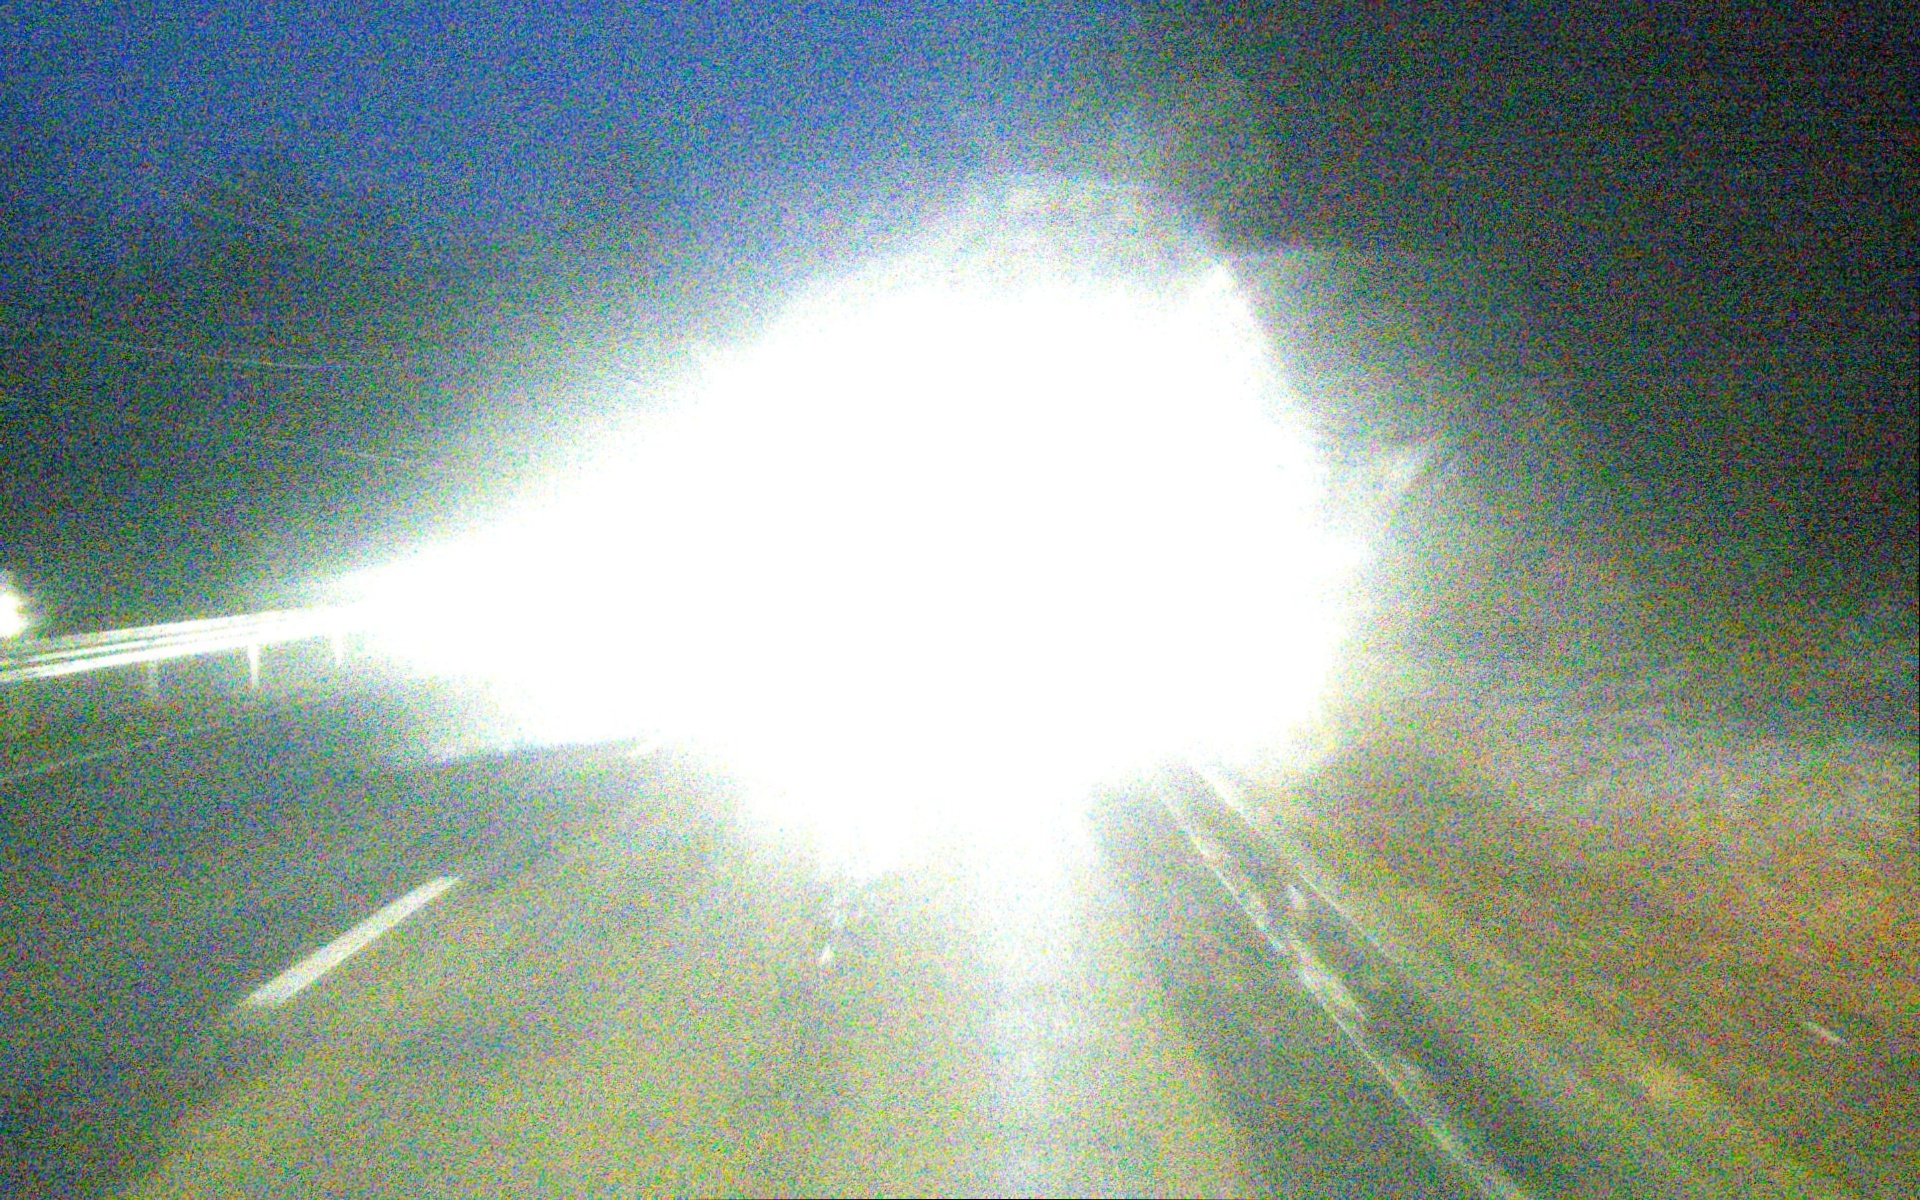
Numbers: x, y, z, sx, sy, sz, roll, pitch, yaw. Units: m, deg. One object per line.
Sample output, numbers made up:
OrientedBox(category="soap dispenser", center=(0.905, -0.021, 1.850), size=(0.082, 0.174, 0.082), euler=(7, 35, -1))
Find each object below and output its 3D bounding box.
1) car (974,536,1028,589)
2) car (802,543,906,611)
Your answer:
OrientedBox(category="car", center=(1.545, -1.428, 128.679), size=(1.855, 1.933, 4.000), euler=(0, 1, 3))
OrientedBox(category="car", center=(-2.219, -0.512, 72.886), size=(1.993, 1.386, 3.846), euler=(0, 1, 1))
